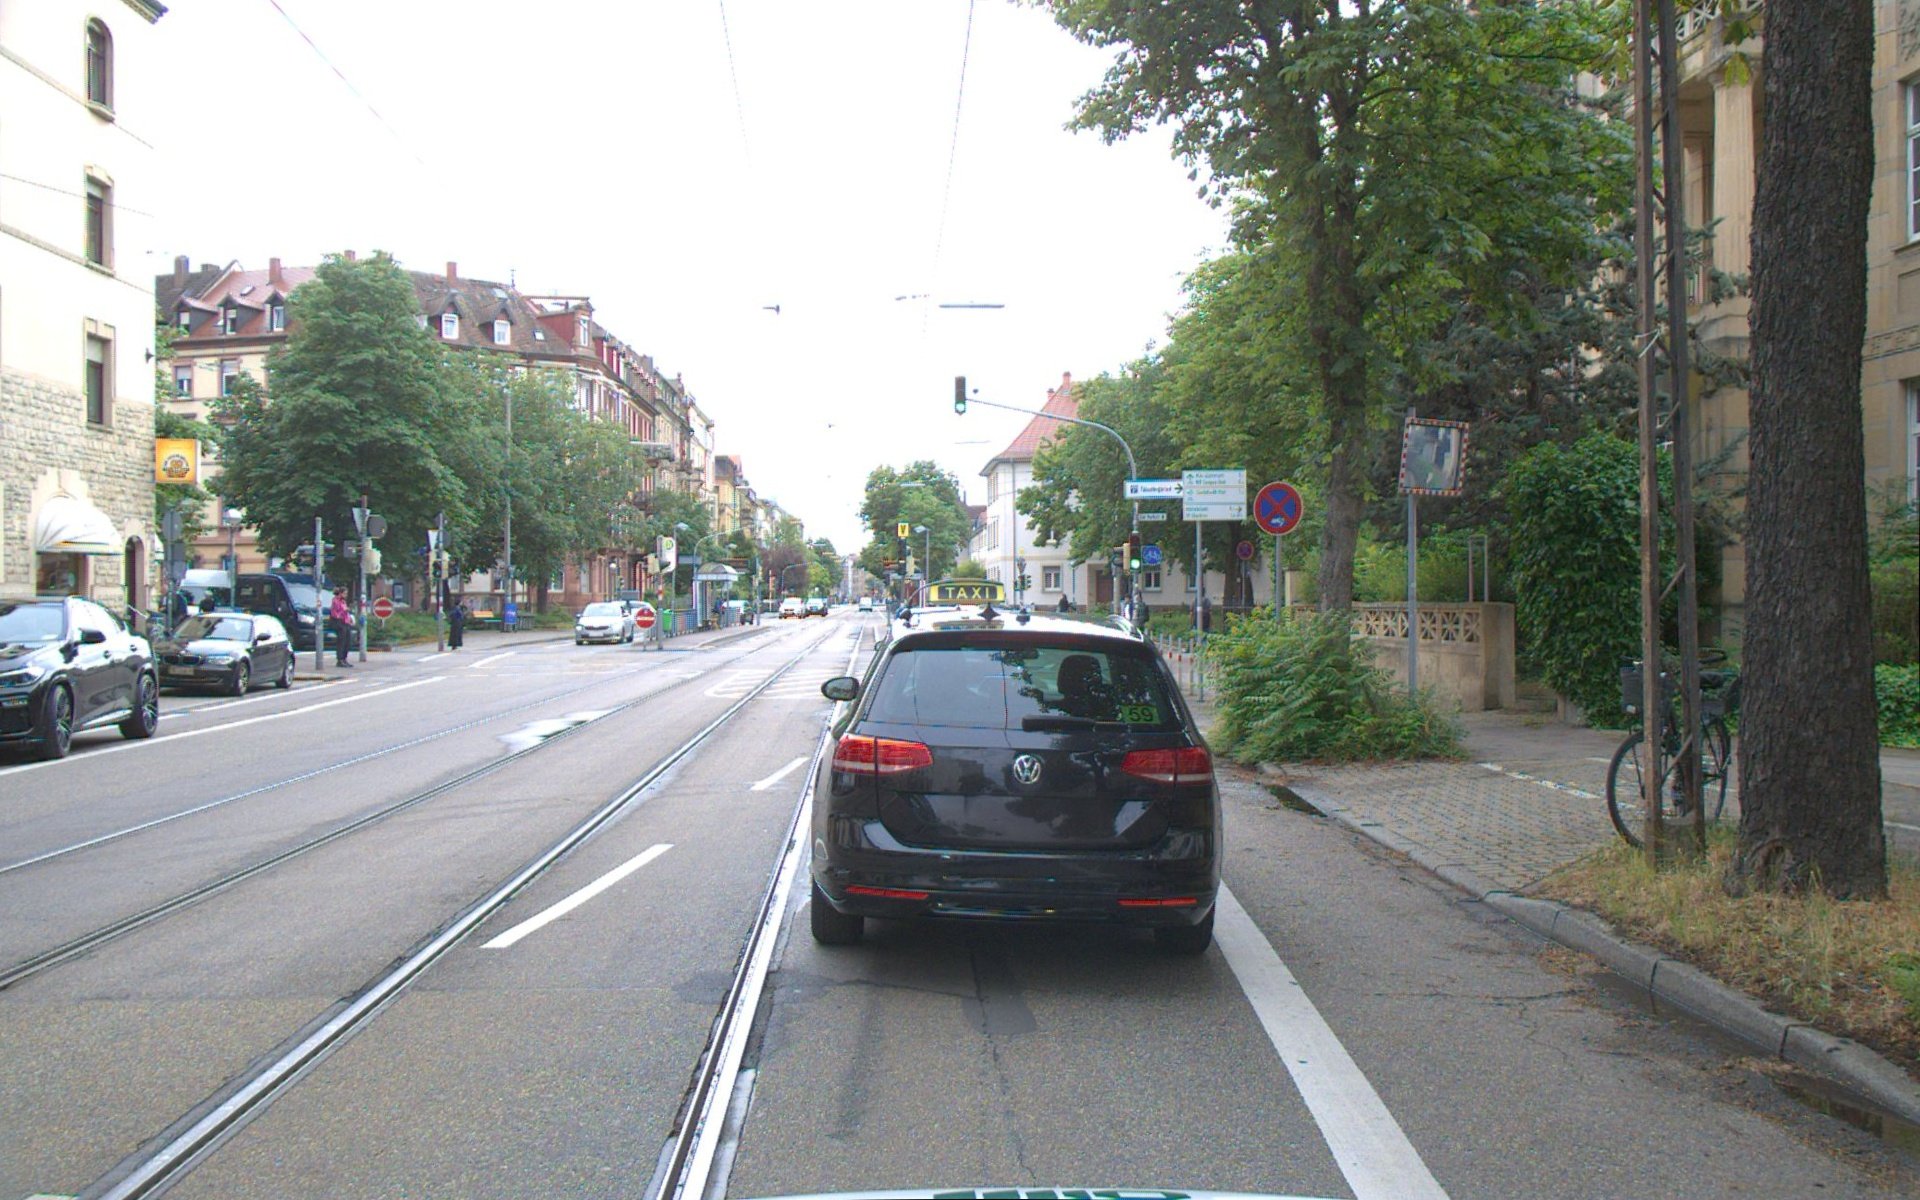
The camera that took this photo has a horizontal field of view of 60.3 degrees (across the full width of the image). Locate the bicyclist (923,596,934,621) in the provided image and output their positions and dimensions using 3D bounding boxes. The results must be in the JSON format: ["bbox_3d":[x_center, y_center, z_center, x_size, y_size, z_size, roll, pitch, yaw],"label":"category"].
[{"bbox_3d":[-2.049,0.554,108.632,0.637,1.596,0.696,-1,0,4],"label":"bicyclist"}]

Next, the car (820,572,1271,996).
[{"bbox_3d":[0.234,0.679,8.181,1.689,1.573,3.998,0,0,-3],"label":"car"}]

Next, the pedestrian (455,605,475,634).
[{"bbox_3d":[-20.439,0.800,68.301,0.582,1.189,0.836,0,0,-32],"label":"pedestrian"}]

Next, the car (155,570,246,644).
[{"bbox_3d":[-27.871,0.246,60.602,2.160,2.571,5.315,0,0,-34],"label":"car"}]

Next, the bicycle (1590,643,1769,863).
[{"bbox_3d":[4.407,0.872,10.058,0.425,1.219,1.892,-1,-1,42],"label":"bicycle"}]

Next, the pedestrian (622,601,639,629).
[{"bbox_3d":[-17.910,0.817,89.887,0.577,1.547,0.647,-1,0,33],"label":"pedestrian"}]

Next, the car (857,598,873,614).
[{"bbox_3d":[-12.626,0.768,220.244,1.992,2.049,3.998,1,-1,-3],"label":"car"}]

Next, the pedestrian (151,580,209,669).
[{"bbox_3d":[-18.387,0.565,39.021,0.954,2.049,0.835,-1,0,-3],"label":"pedestrian"}]

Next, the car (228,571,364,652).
[{"bbox_3d":[-21.288,0.348,52.905,2.170,2.460,5.291,0,0,-45],"label":"car"}]

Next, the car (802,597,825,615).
[{"bbox_3d":[-13.240,0.517,149.673,1.758,1.624,4.000,-1,0,0],"label":"car"}]

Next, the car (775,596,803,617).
[{"bbox_3d":[-13.716,0.535,132.760,1.758,1.624,4.000,-1,0,0],"label":"car"}]

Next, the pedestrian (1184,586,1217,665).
[{"bbox_3d":[5.675,0.592,39.061,0.619,1.846,0.725,0,0,-5],"label":"pedestrian"}]

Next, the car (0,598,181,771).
[{"bbox_3d":[-10.249,0.860,18.170,1.850,1.639,4.873,-3,0,-11],"label":"car"}]

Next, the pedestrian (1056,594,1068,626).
[{"bbox_3d":[5.152,0.499,83.713,0.569,1.581,0.609,0,0,1],"label":"pedestrian"}]

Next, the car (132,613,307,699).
[{"bbox_3d":[-13.447,0.978,30.294,1.616,1.385,4.125,2,0,-5],"label":"car"}]

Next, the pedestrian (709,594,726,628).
[{"bbox_3d":[-11.160,0.504,76.214,0.700,1.547,0.589,0,0,-1],"label":"pedestrian"}]

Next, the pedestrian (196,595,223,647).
[{"bbox_3d":[-25.447,0.717,56.053,0.694,1.745,0.543,0,0,-43],"label":"pedestrian"}]

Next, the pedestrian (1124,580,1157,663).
[{"bbox_3d":[4.141,0.498,38.024,0.573,1.862,0.604,-3,0,-2],"label":"pedestrian"}]

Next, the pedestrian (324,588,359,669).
[{"bbox_3d":[-14.620,0.668,39.102,0.611,1.875,0.609,0,0,-5],"label":"pedestrian"}]

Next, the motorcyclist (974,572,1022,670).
[{"bbox_3d":[0.683,0.375,29.635,0.688,1.722,0.805,-1,0,13],"label":"motorcyclist"}]

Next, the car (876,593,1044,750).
[{"bbox_3d":[-0.093,0.715,18.649,1.689,1.573,3.998,0,0,-3],"label":"car"}]

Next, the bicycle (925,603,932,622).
[{"bbox_3d":[-2.065,0.812,108.555,0.291,1.244,1.431,-1,0,4],"label":"bicycle"}]

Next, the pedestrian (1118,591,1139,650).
[{"bbox_3d":[5.440,0.648,53.346,0.504,1.862,0.418,-3,0,-2],"label":"pedestrian"}]

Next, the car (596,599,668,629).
[{"bbox_3d":[-18.797,0.791,94.857,1.694,1.651,3.844,-1,0,39],"label":"car"}]

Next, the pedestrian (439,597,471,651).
[{"bbox_3d":[-15.905,0.741,52.117,0.819,1.692,0.591,0,0,-1],"label":"pedestrian"}]

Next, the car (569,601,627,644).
[{"bbox_3d":[-12.904,0.782,59.165,1.657,1.435,3.993,-2,0,-8],"label":"car"}]

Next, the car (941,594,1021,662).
[{"bbox_3d":[0.466,0.636,40.240,1.689,1.573,3.998,0,0,-3],"label":"car"}]

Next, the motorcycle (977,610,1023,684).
[{"bbox_3d":[0.727,0.810,29.501,0.437,1.257,1.908,-1,0,13],"label":"motorcycle"}]
